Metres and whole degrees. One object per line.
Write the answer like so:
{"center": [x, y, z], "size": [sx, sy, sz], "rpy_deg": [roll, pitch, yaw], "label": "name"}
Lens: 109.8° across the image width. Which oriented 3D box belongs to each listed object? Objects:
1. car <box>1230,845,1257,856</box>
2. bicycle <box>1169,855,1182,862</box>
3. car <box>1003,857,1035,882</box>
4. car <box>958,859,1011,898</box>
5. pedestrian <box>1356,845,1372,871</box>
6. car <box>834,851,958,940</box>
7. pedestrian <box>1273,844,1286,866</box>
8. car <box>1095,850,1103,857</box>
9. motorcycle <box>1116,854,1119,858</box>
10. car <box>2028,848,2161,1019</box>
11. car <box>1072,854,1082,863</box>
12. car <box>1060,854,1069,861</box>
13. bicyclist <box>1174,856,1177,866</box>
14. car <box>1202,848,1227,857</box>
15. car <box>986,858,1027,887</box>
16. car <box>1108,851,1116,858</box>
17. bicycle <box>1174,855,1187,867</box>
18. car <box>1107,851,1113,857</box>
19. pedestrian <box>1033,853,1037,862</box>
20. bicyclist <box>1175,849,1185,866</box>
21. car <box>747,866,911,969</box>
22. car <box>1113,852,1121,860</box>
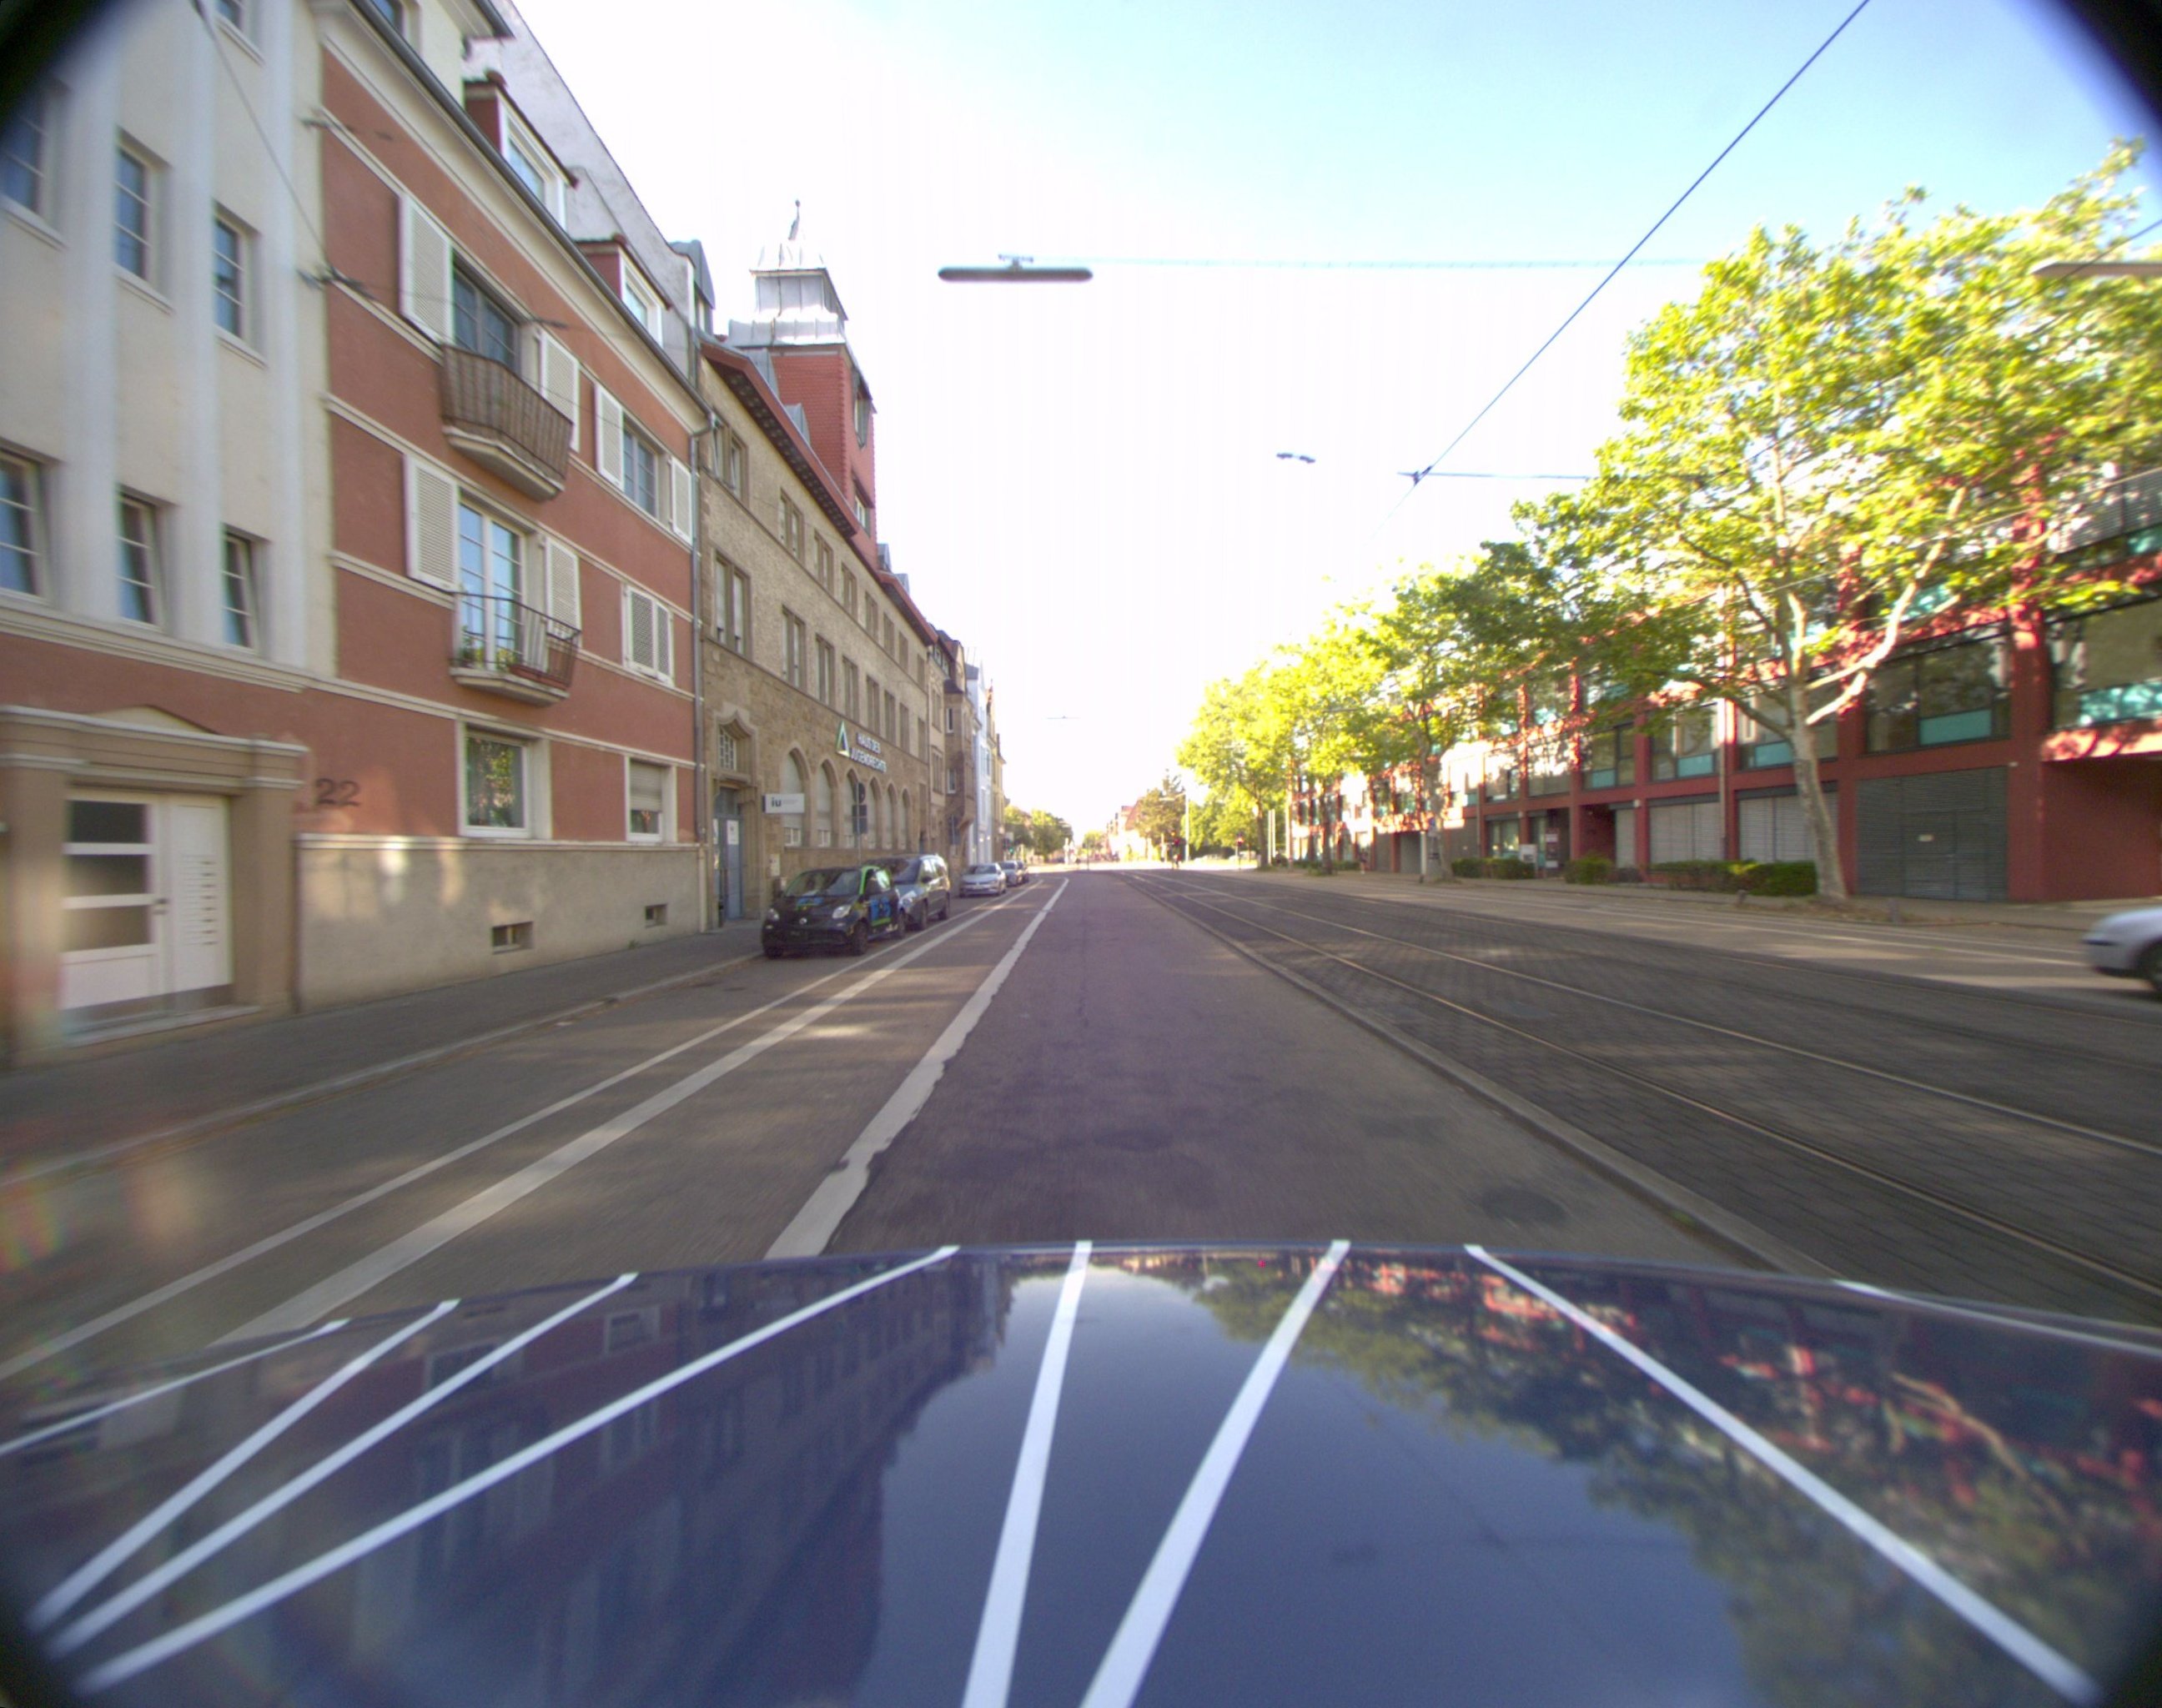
{"center": [27.472, -0.625, 128.613], "size": [4.311, 1.856, 1.817], "rpy_deg": [-1, 1, 3], "label": "car"}
{"center": [15.802, 0.815, 127.012], "size": [2.284, 1.111, 0.930], "rpy_deg": [-1, 1, 8], "label": "bicycle"}
{"center": [-3.985, 0.970, 49.423], "size": [1.659, 1.474, 4.000], "rpy_deg": [-2, 0, 0], "label": "car"}
{"center": [-4.212, 1.054, 33.693], "size": [1.718, 1.492, 4.226], "rpy_deg": [-3, 0, 0], "label": "car"}
{"center": [18.558, 0.262, 49.878], "size": [0.627, 1.708, 0.900], "rpy_deg": [-3, 1, -1], "label": "pedestrian"}
{"center": [-4.327, 0.882, 18.571], "size": [1.757, 1.844, 4.815], "rpy_deg": [-2, 0, 0], "label": "car"}
{"center": [18.319, 0.112, 70.140], "size": [0.913, 2.002, 0.780], "rpy_deg": [-3, 0, -8], "label": "pedestrian"}
{"center": [5.106, -0.117, 218.159], "size": [2.024, 2.001, 5.252], "rpy_deg": [0, -1, 3], "label": "car"}
{"center": [8.393, 0.443, 172.839], "size": [0.605, 1.040, 2.437], "rpy_deg": [-3, 0, 2], "label": "motorcycle"}
{"center": [10.696, 0.724, 5.727], "size": [1.759, 1.509, 4.065], "rpy_deg": [0, 1, -15], "label": "car"}
{"center": [-0.879, 0.888, 161.597], "size": [1.923, 1.705, 4.001], "rpy_deg": [-3, 0, 3], "label": "car"}
{"center": [-3.998, 0.777, 184.992], "size": [1.704, 1.541, 4.001], "rpy_deg": [-3, 0, 5], "label": "car"}
{"center": [15.814, 1.156, 126.964], "size": [0.559, 1.613, 0.899], "rpy_deg": [-1, 1, 8], "label": "bicyclist"}
{"center": [22.161, -0.193, 126.252], "size": [3.995, 1.425, 1.817], "rpy_deg": [-1, 0, 6], "label": "car"}
{"center": [-4.232, 1.024, 43.884], "size": [1.757, 1.492, 4.196], "rpy_deg": [-3, 0, 2], "label": "car"}
{"center": [8.540, 0.055, 208.445], "size": [1.924, 1.705, 4.000], "rpy_deg": [-3, 0, 1], "label": "car"}
{"center": [9.915, 0.687, 75.814], "size": [0.632, 1.123, 2.039], "rpy_deg": [-2, 0, 26], "label": "bicycle"}
{"center": [9.149, -0.125, 238.240], "size": [1.924, 1.705, 4.000], "rpy_deg": [-3, 0, 2], "label": "car"}
{"center": [-8.436, 0.601, 138.269], "size": [0.655, 1.664, 0.943], "rpy_deg": [0, 0, 3], "label": "pedestrian"}
{"center": [9.890, 0.318, 75.802], "size": [0.605, 1.682, 0.934], "rpy_deg": [-3, 0, 25], "label": "bicyclist"}
{"center": [-4.446, 1.053, 14.020], "size": [1.635, 1.502, 3.717], "rpy_deg": [-3, 0, 2], "label": "car"}
{"center": [8.921, 0.420, 187.493], "size": [1.923, 1.890, 4.001], "rpy_deg": [-3, 0, 3], "label": "car"}
